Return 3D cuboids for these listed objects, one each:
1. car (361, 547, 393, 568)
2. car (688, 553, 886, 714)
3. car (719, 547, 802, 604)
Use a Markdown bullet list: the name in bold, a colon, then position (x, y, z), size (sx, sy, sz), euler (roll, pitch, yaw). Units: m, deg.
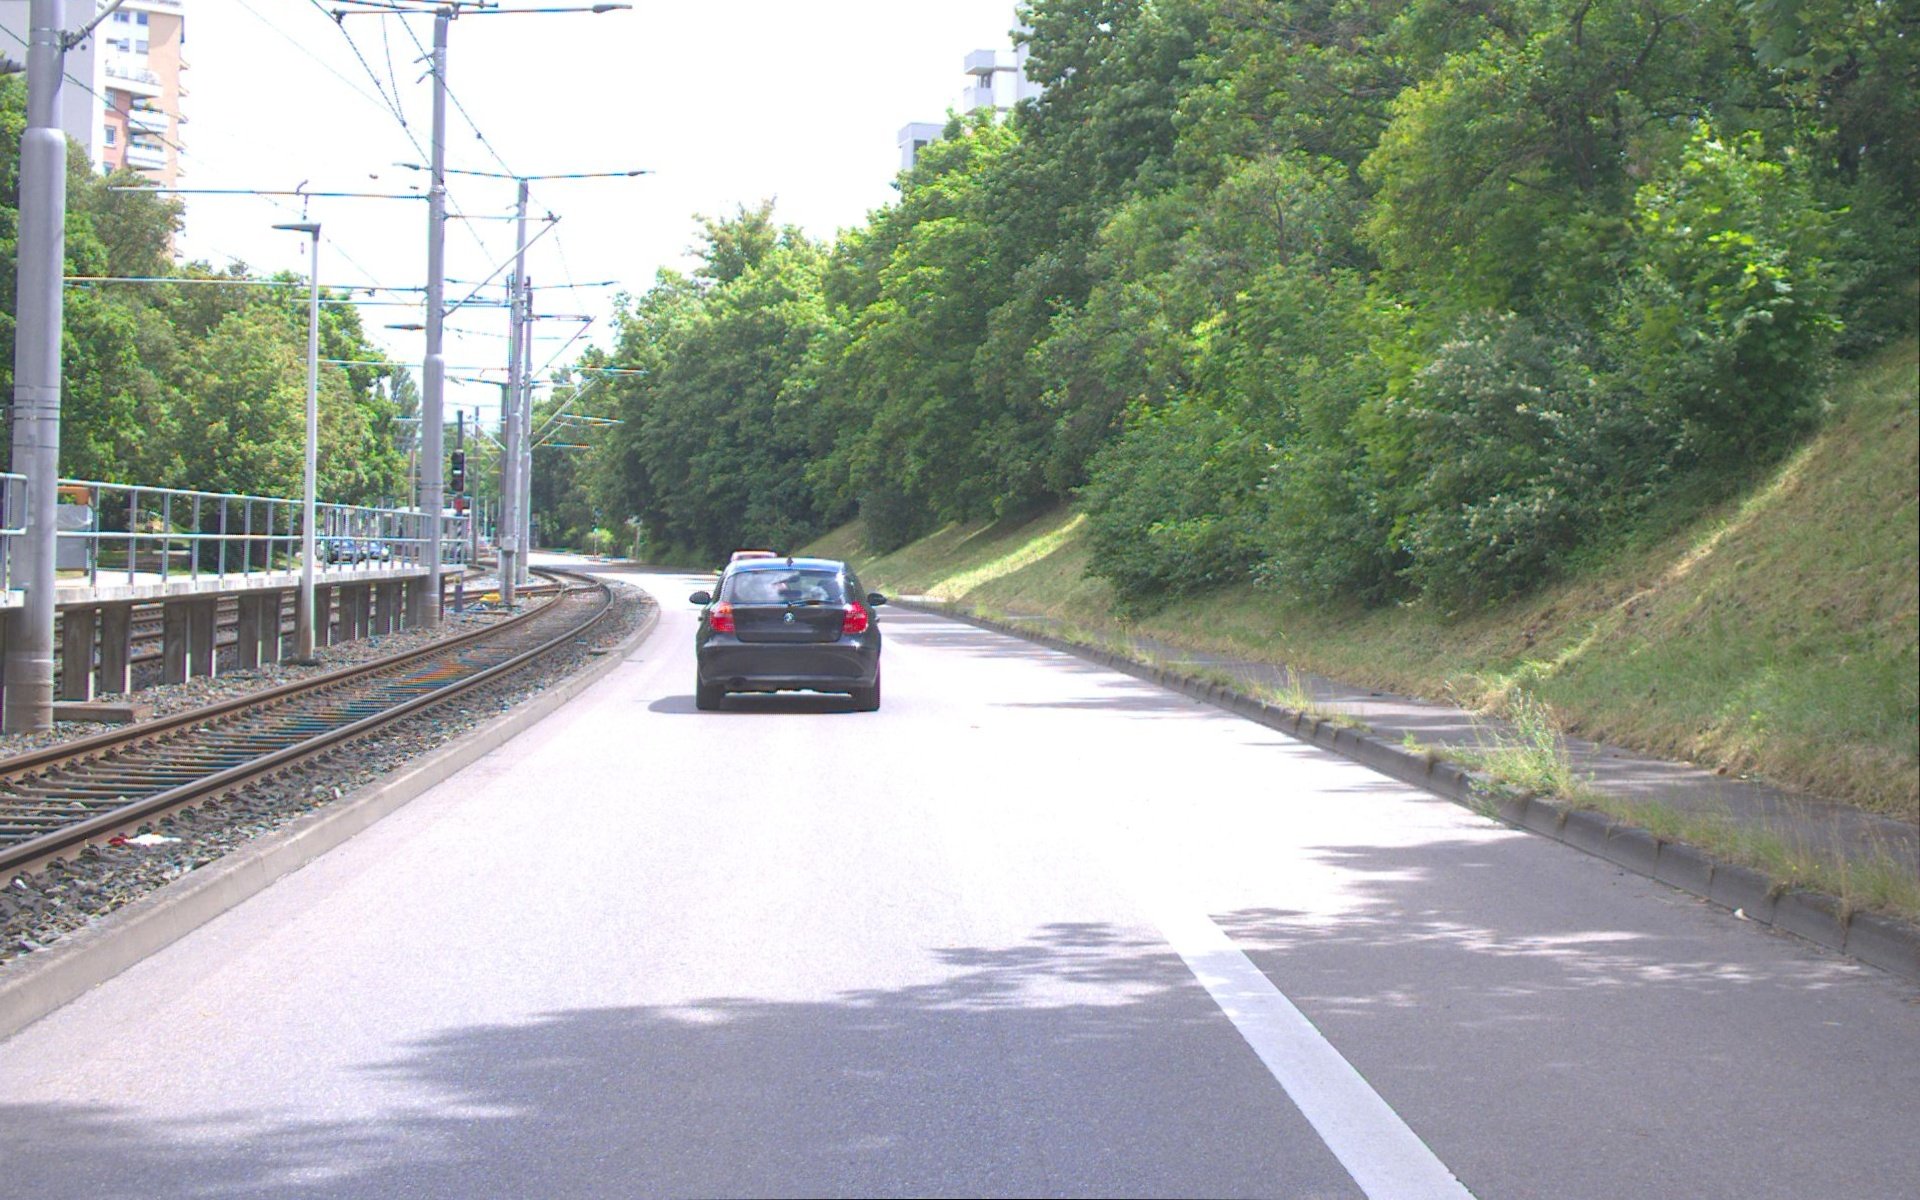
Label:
- **car**: position (-39.623, -2.884, 233.698), size (1.835, 1.386, 4.863), euler (-1, 1, -6)
- **car**: position (-1.671, 0.277, 32.984), size (1.781, 1.454, 3.921), euler (0, 1, -3)
- **car**: position (-5.322, -0.662, 91.215), size (1.781, 1.454, 3.922), euler (1, 0, -9)
